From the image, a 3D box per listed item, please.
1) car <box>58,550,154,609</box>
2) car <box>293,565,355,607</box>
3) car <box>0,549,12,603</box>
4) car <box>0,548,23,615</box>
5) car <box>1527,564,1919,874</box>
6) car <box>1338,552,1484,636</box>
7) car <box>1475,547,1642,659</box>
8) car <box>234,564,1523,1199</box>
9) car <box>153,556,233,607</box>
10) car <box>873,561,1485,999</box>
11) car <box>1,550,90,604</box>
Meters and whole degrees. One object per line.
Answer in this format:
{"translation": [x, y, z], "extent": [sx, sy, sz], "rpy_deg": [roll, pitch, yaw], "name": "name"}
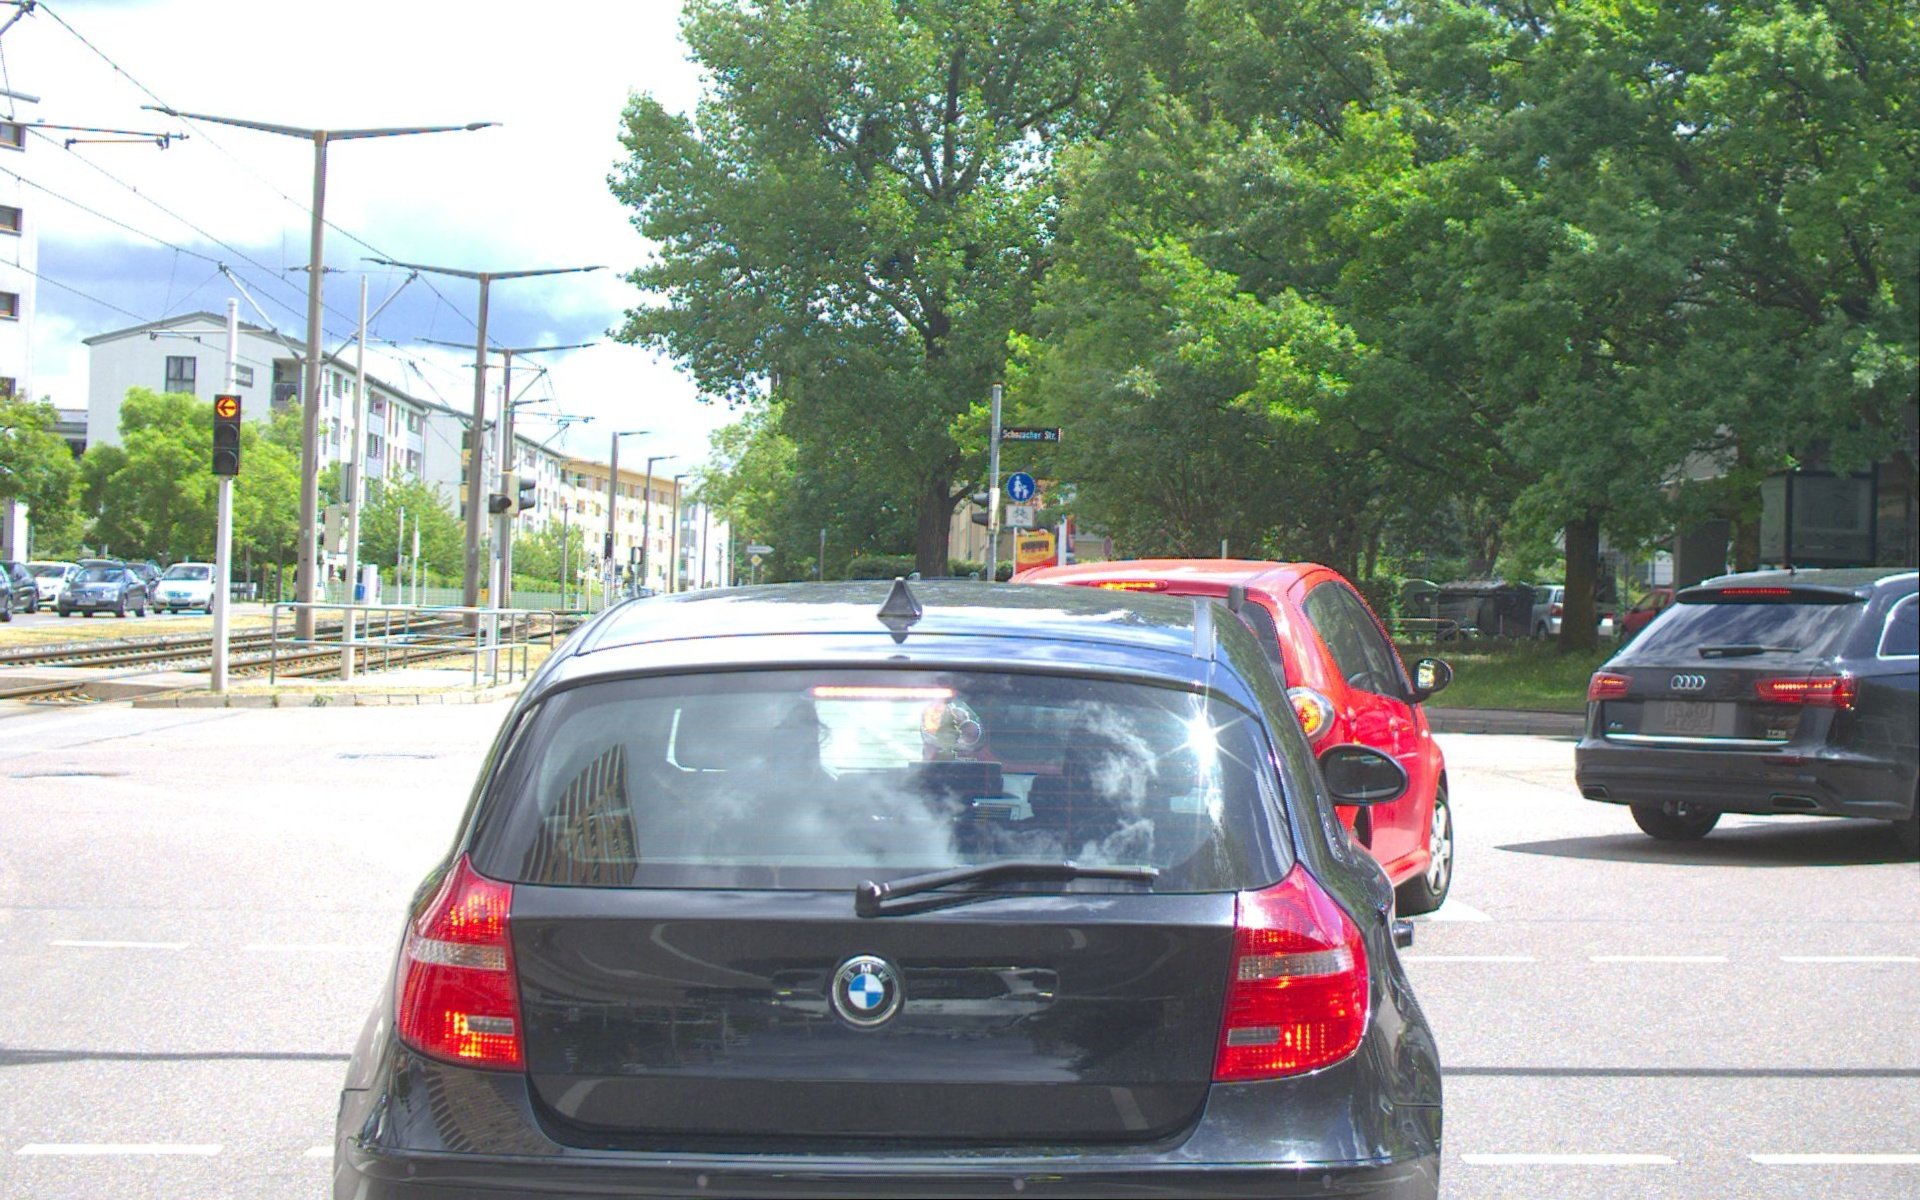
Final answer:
{"translation": [-23.025, -0.571, 92.804], "extent": [1.651, 1.529, 3.872], "rpy_deg": [1, 1, -1], "name": "car"}
{"translation": [-24.072, -0.536, 130.199], "extent": [1.651, 1.529, 3.872], "rpy_deg": [1, 1, -1], "name": "car"}
{"translation": [-27.193, -0.652, 93.847], "extent": [1.591, 1.469, 3.775], "rpy_deg": [1, 1, 0], "name": "car"}
{"translation": [-23.028, -0.433, 79.562], "extent": [1.651, 1.529, 3.872], "rpy_deg": [1, 1, -1], "name": "car"}
{"translation": [5.231, 0.543, 18.336], "extent": [4.526, 1.417, 1.906], "rpy_deg": [0, 2, -42], "name": "car"}
{"translation": [9.357, -0.148, 71.596], "extent": [1.862, 1.656, 4.001], "rpy_deg": [1, 1, -10], "name": "car"}
{"translation": [10.519, 0.019, 60.689], "extent": [1.726, 1.865, 4.001], "rpy_deg": [1, 1, -8], "name": "car"}
{"translation": [-0.098, 0.665, 6.277], "extent": [1.700, 1.395, 3.420], "rpy_deg": [1, 1, 1], "name": "car"}
{"translation": [-23.815, -0.586, 106.844], "extent": [1.651, 1.529, 3.872], "rpy_deg": [1, 1, -1], "name": "car"}
{"translation": [0.966, 0.572, 13.212], "extent": [1.639, 1.395, 3.417], "rpy_deg": [1, 1, 16], "name": "car"}
{"translation": [-27.035, -0.684, 101.712], "extent": [1.651, 1.529, 3.872], "rpy_deg": [1, 1, -1], "name": "car"}
